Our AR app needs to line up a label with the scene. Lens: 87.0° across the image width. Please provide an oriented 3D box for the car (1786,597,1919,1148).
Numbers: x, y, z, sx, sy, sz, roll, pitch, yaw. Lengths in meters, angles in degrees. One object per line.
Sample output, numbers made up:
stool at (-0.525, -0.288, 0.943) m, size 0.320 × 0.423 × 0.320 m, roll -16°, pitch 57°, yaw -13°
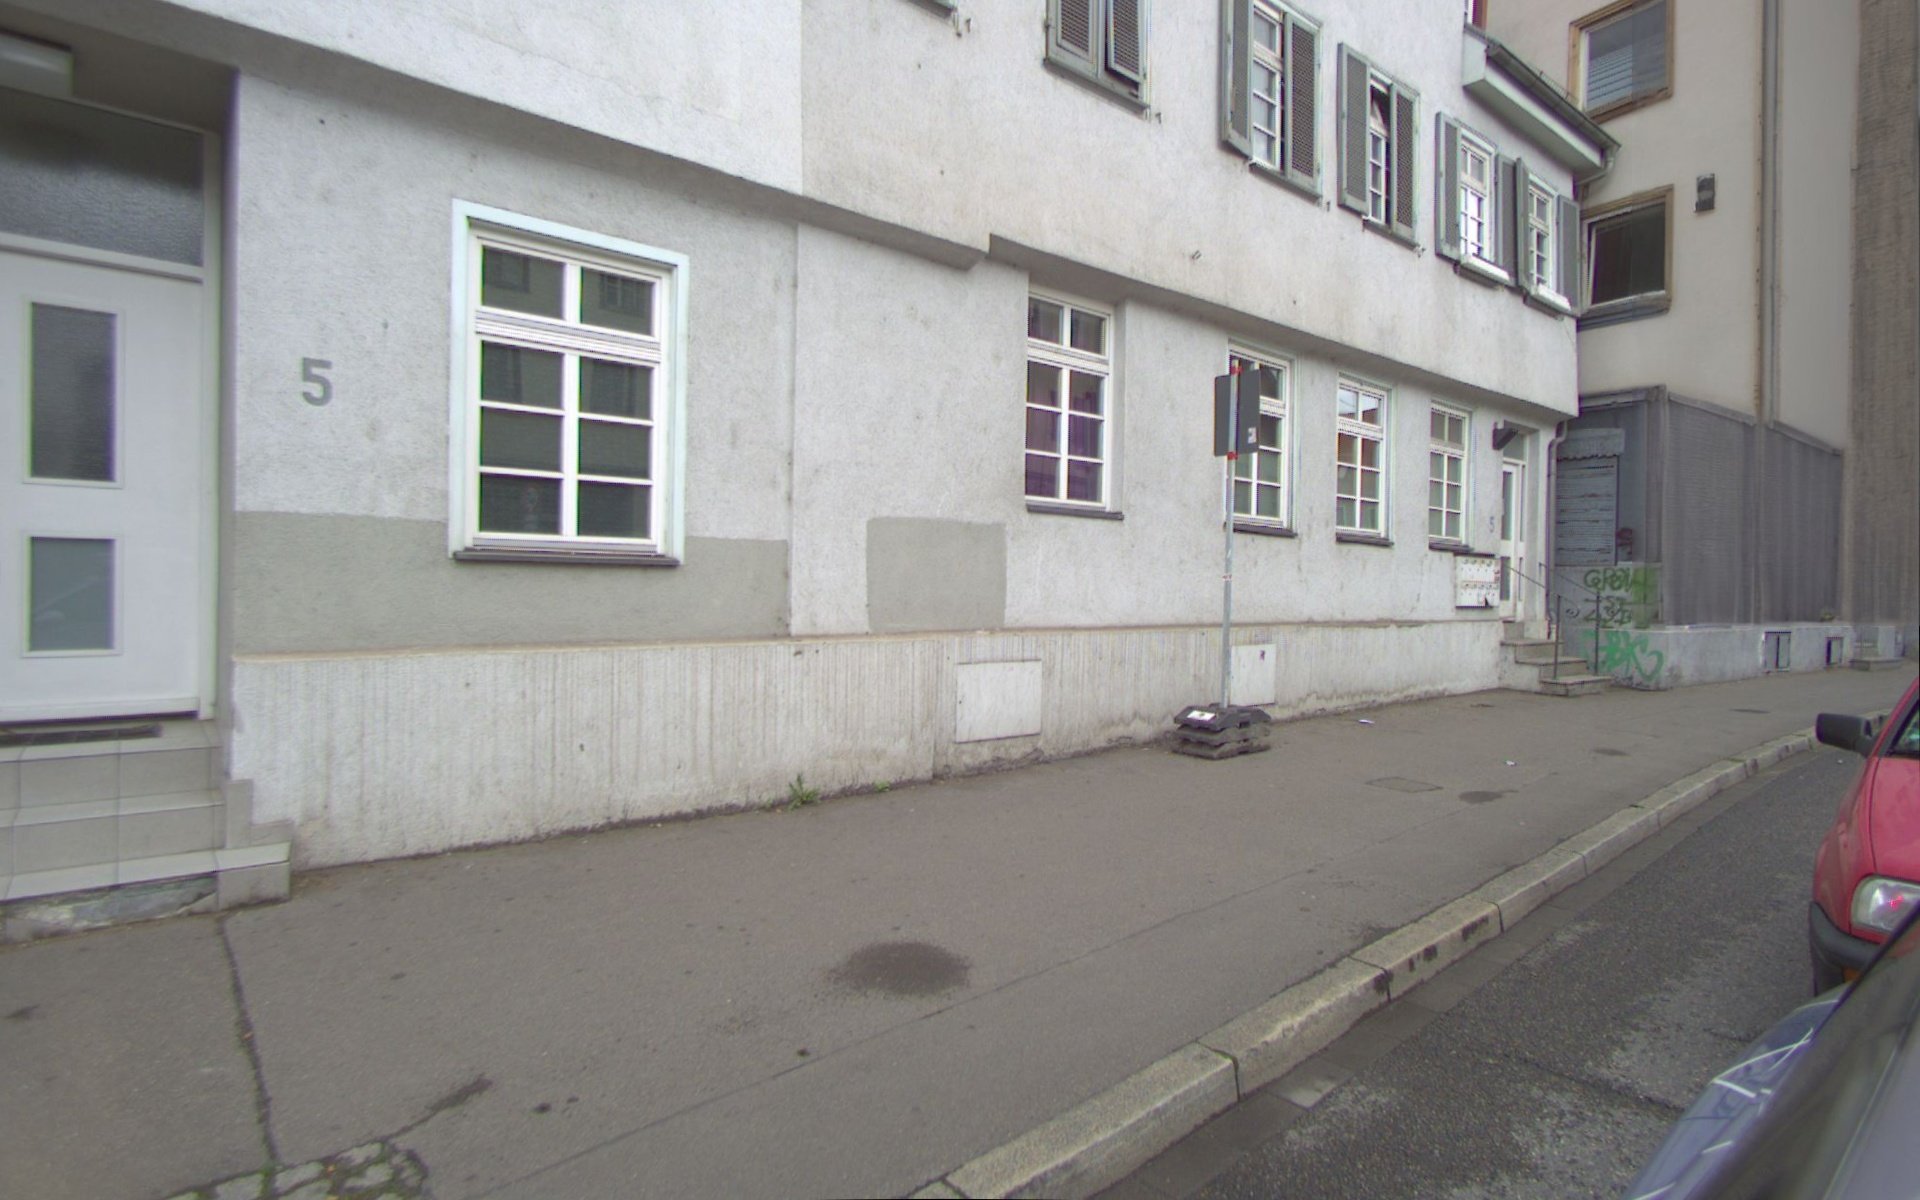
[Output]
car at (4.404, 0.747, 3.504) m, size 3.930 × 1.443 × 1.791 m, roll 1°, pitch 0°, yaw -42°
